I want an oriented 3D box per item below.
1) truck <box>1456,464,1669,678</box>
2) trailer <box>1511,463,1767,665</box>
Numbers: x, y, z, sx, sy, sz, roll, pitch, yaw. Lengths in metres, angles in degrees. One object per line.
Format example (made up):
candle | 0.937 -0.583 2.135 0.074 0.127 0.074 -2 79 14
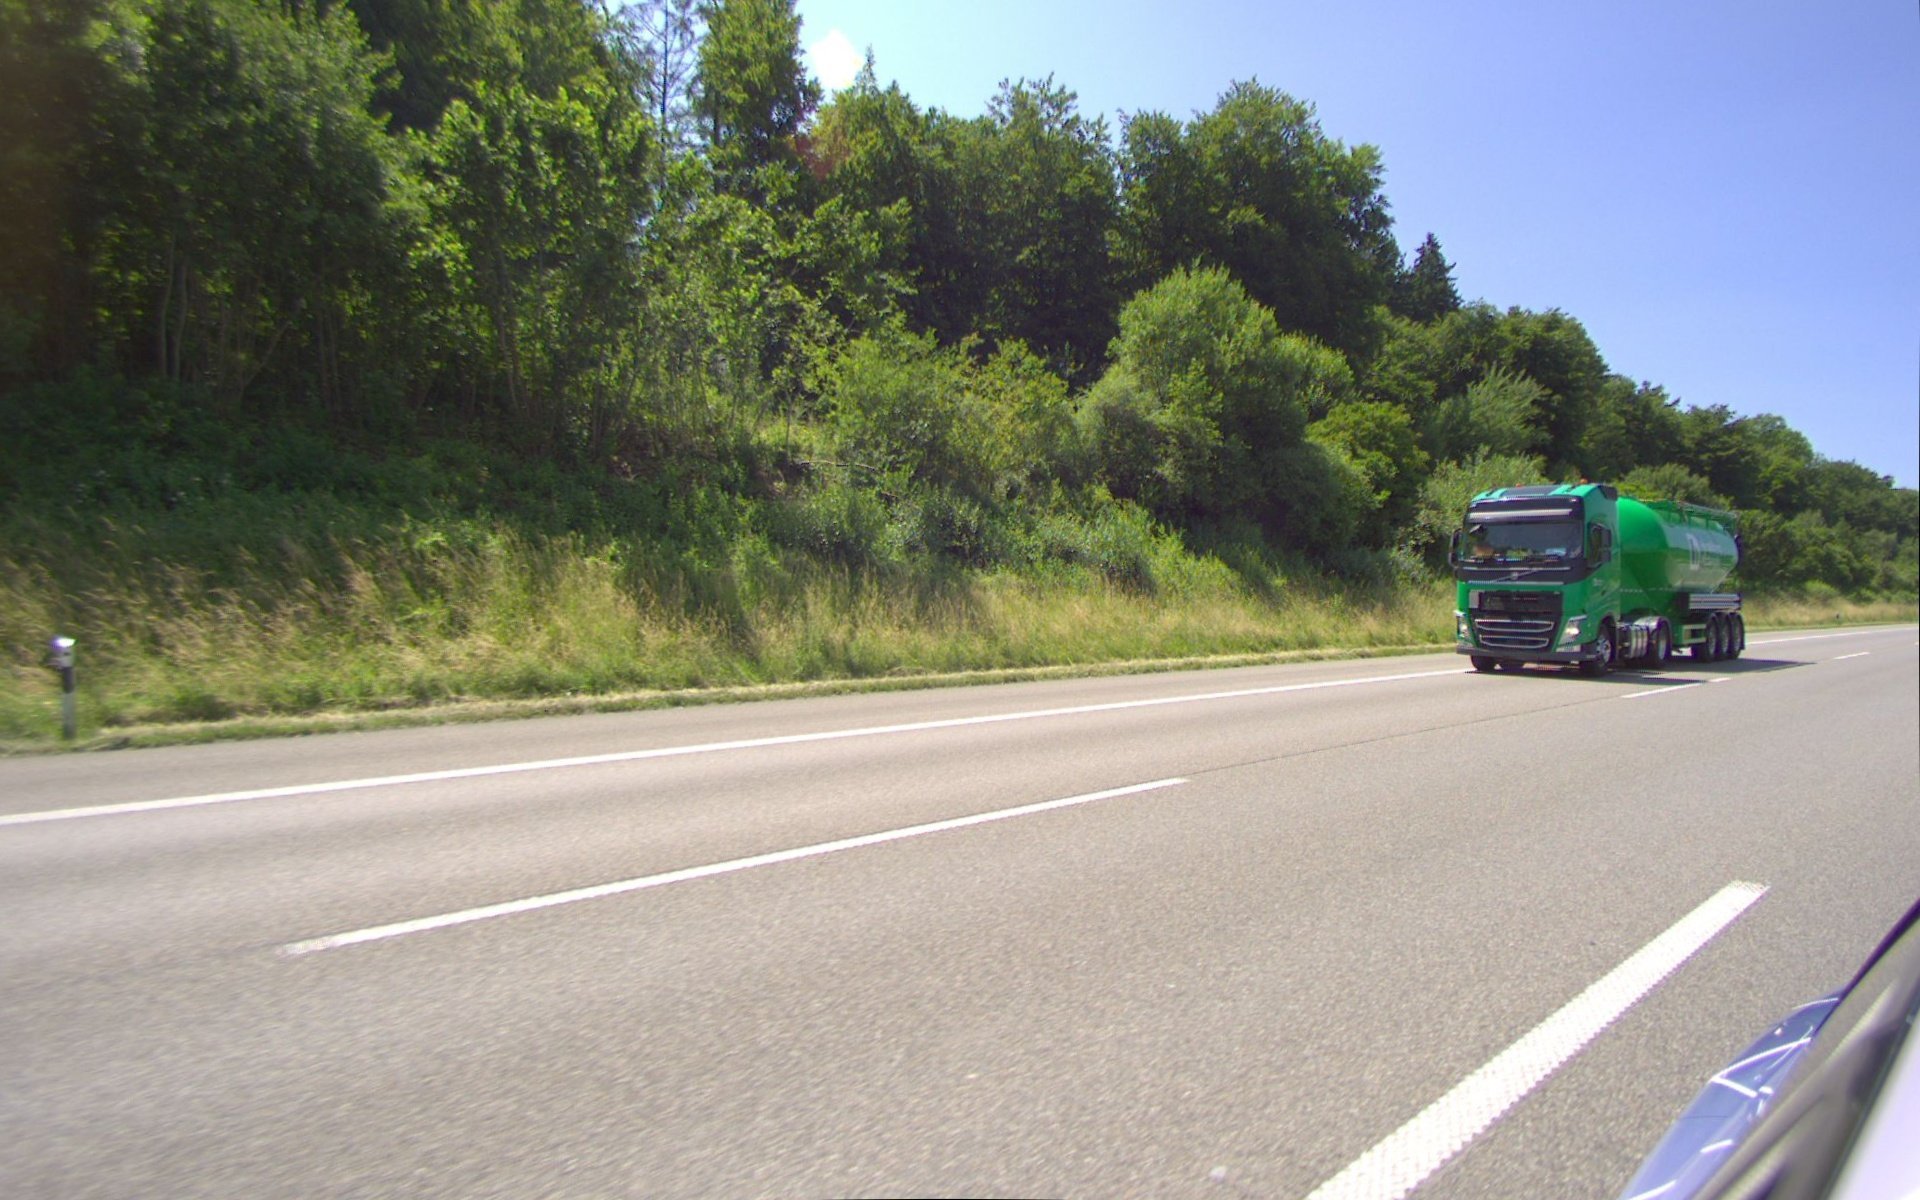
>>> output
truck | 12.564 -0.509 20.991 4.808 3.891 2.513 1 -1 -42
trailer | 16.936 -0.675 24.795 10.285 4.079 2.592 1 -1 -41
